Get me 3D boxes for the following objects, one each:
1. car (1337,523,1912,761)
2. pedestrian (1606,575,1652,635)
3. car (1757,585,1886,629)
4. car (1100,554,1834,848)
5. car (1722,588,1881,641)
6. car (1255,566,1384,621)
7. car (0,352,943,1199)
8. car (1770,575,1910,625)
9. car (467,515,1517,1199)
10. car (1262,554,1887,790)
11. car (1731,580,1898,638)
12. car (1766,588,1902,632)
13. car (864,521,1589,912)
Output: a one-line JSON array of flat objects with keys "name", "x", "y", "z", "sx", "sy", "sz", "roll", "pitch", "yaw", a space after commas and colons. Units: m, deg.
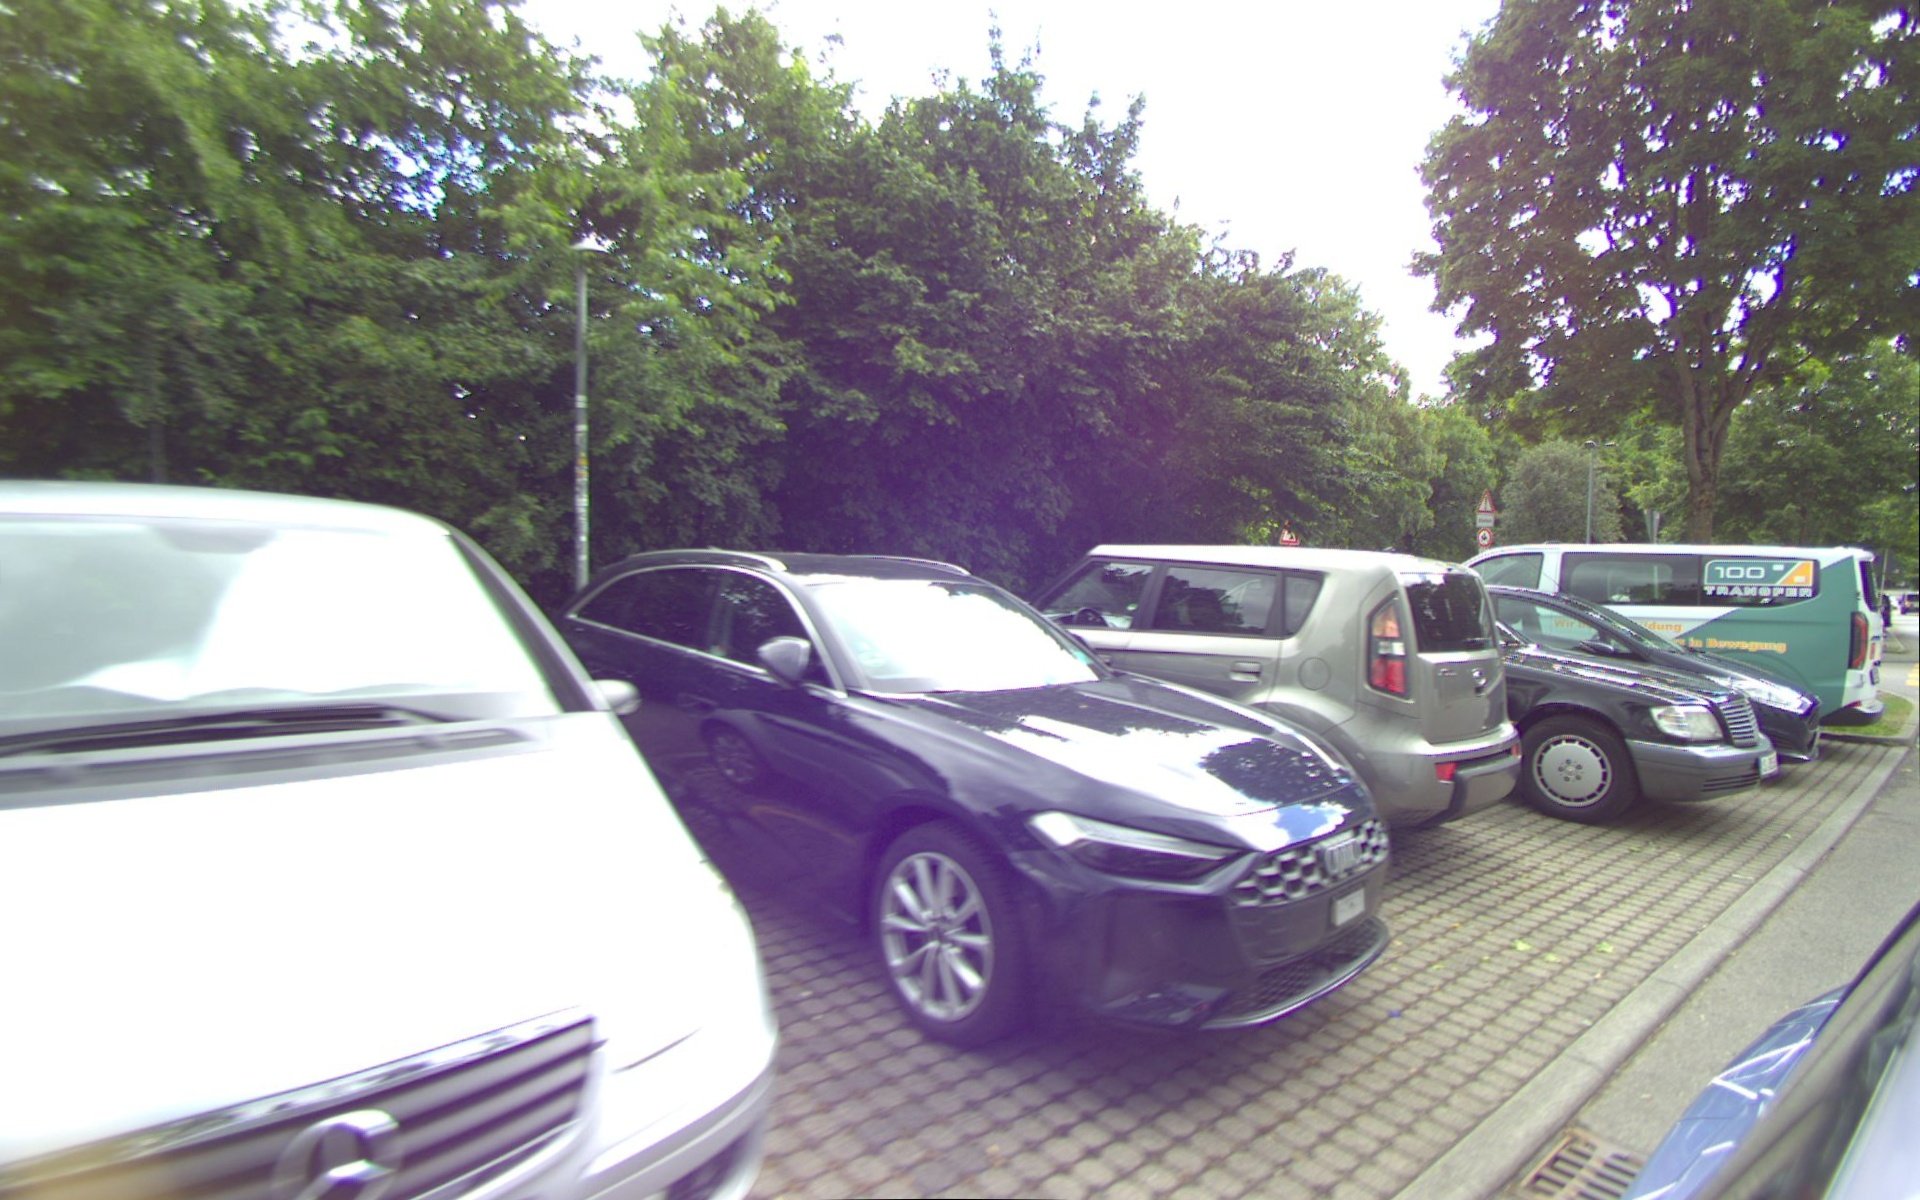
[{"name": "car", "x": 7.029, "y": 0.232, "z": 11.189, "sx": 4.976, "sy": 1.996, "sz": 1.817, "roll": 5, "pitch": 4, "yaw": 44}, {"name": "pedestrian", "x": 18.466, "y": 0.126, "z": 27.944, "sx": 0.795, "sy": 1.596, "sz": 0.836, "roll": 0, "pitch": 2, "yaw": -41}, {"name": "car", "x": 36.320, "y": 0.265, "z": 42.732, "sx": 3.989, "sy": 1.546, "sz": 1.782, "roll": 5, "pitch": 4, "yaw": 44}, {"name": "car", "x": 3.592, "y": 0.481, "z": 8.005, "sx": 2.021, "sy": 1.451, "sz": 4.735, "roll": 1, "pitch": 4, "yaw": -41}, {"name": "car", "x": 27.537, "y": 0.429, "z": 33.185, "sx": 1.822, "sy": 1.420, "sz": 3.836, "roll": -1, "pitch": 4, "yaw": -45}, {"name": "car", "x": 12.324, "y": -0.258, "z": 34.850, "sx": 1.736, "sy": 1.689, "sz": 3.789, "roll": 0, "pitch": 2, "yaw": -39}, {"name": "car", "x": -2.214, "y": 0.392, "z": 2.938, "sx": 1.883, "sy": 1.596, "sz": 4.388, "roll": 1, "pitch": 4, "yaw": -42}, {"name": "car", "x": 43.094, "y": -0.050, "z": 49.630, "sx": 4.959, "sy": 2.038, "sz": 2.131, "roll": 6, "pitch": 4, "yaw": 44}, {"name": "car", "x": -0.354, "y": 0.451, "z": 4.717, "sx": 2.077, "sy": 1.517, "sz": 4.730, "roll": 0, "pitch": 4, "yaw": -45}, {"name": "car", "x": 5.494, "y": 0.443, "z": 9.641, "sx": 1.815, "sy": 1.534, "sz": 4.713, "roll": 1, "pitch": 4, "yaw": -42}, {"name": "car", "x": 29.406, "y": 0.247, "z": 34.903, "sx": 1.947, "sy": 1.669, "sz": 4.130, "roll": 0, "pitch": 4, "yaw": -43}, {"name": "car", "x": 34.856, "y": 0.363, "z": 40.436, "sx": 3.988, "sy": 1.447, "sz": 1.906, "roll": 5, "pitch": 4, "yaw": 43}, {"name": "car", "x": 1.369, "y": 0.385, "z": 6.454, "sx": 1.859, "sy": 1.628, "sz": 4.073, "roll": 1, "pitch": 4, "yaw": -42}]
